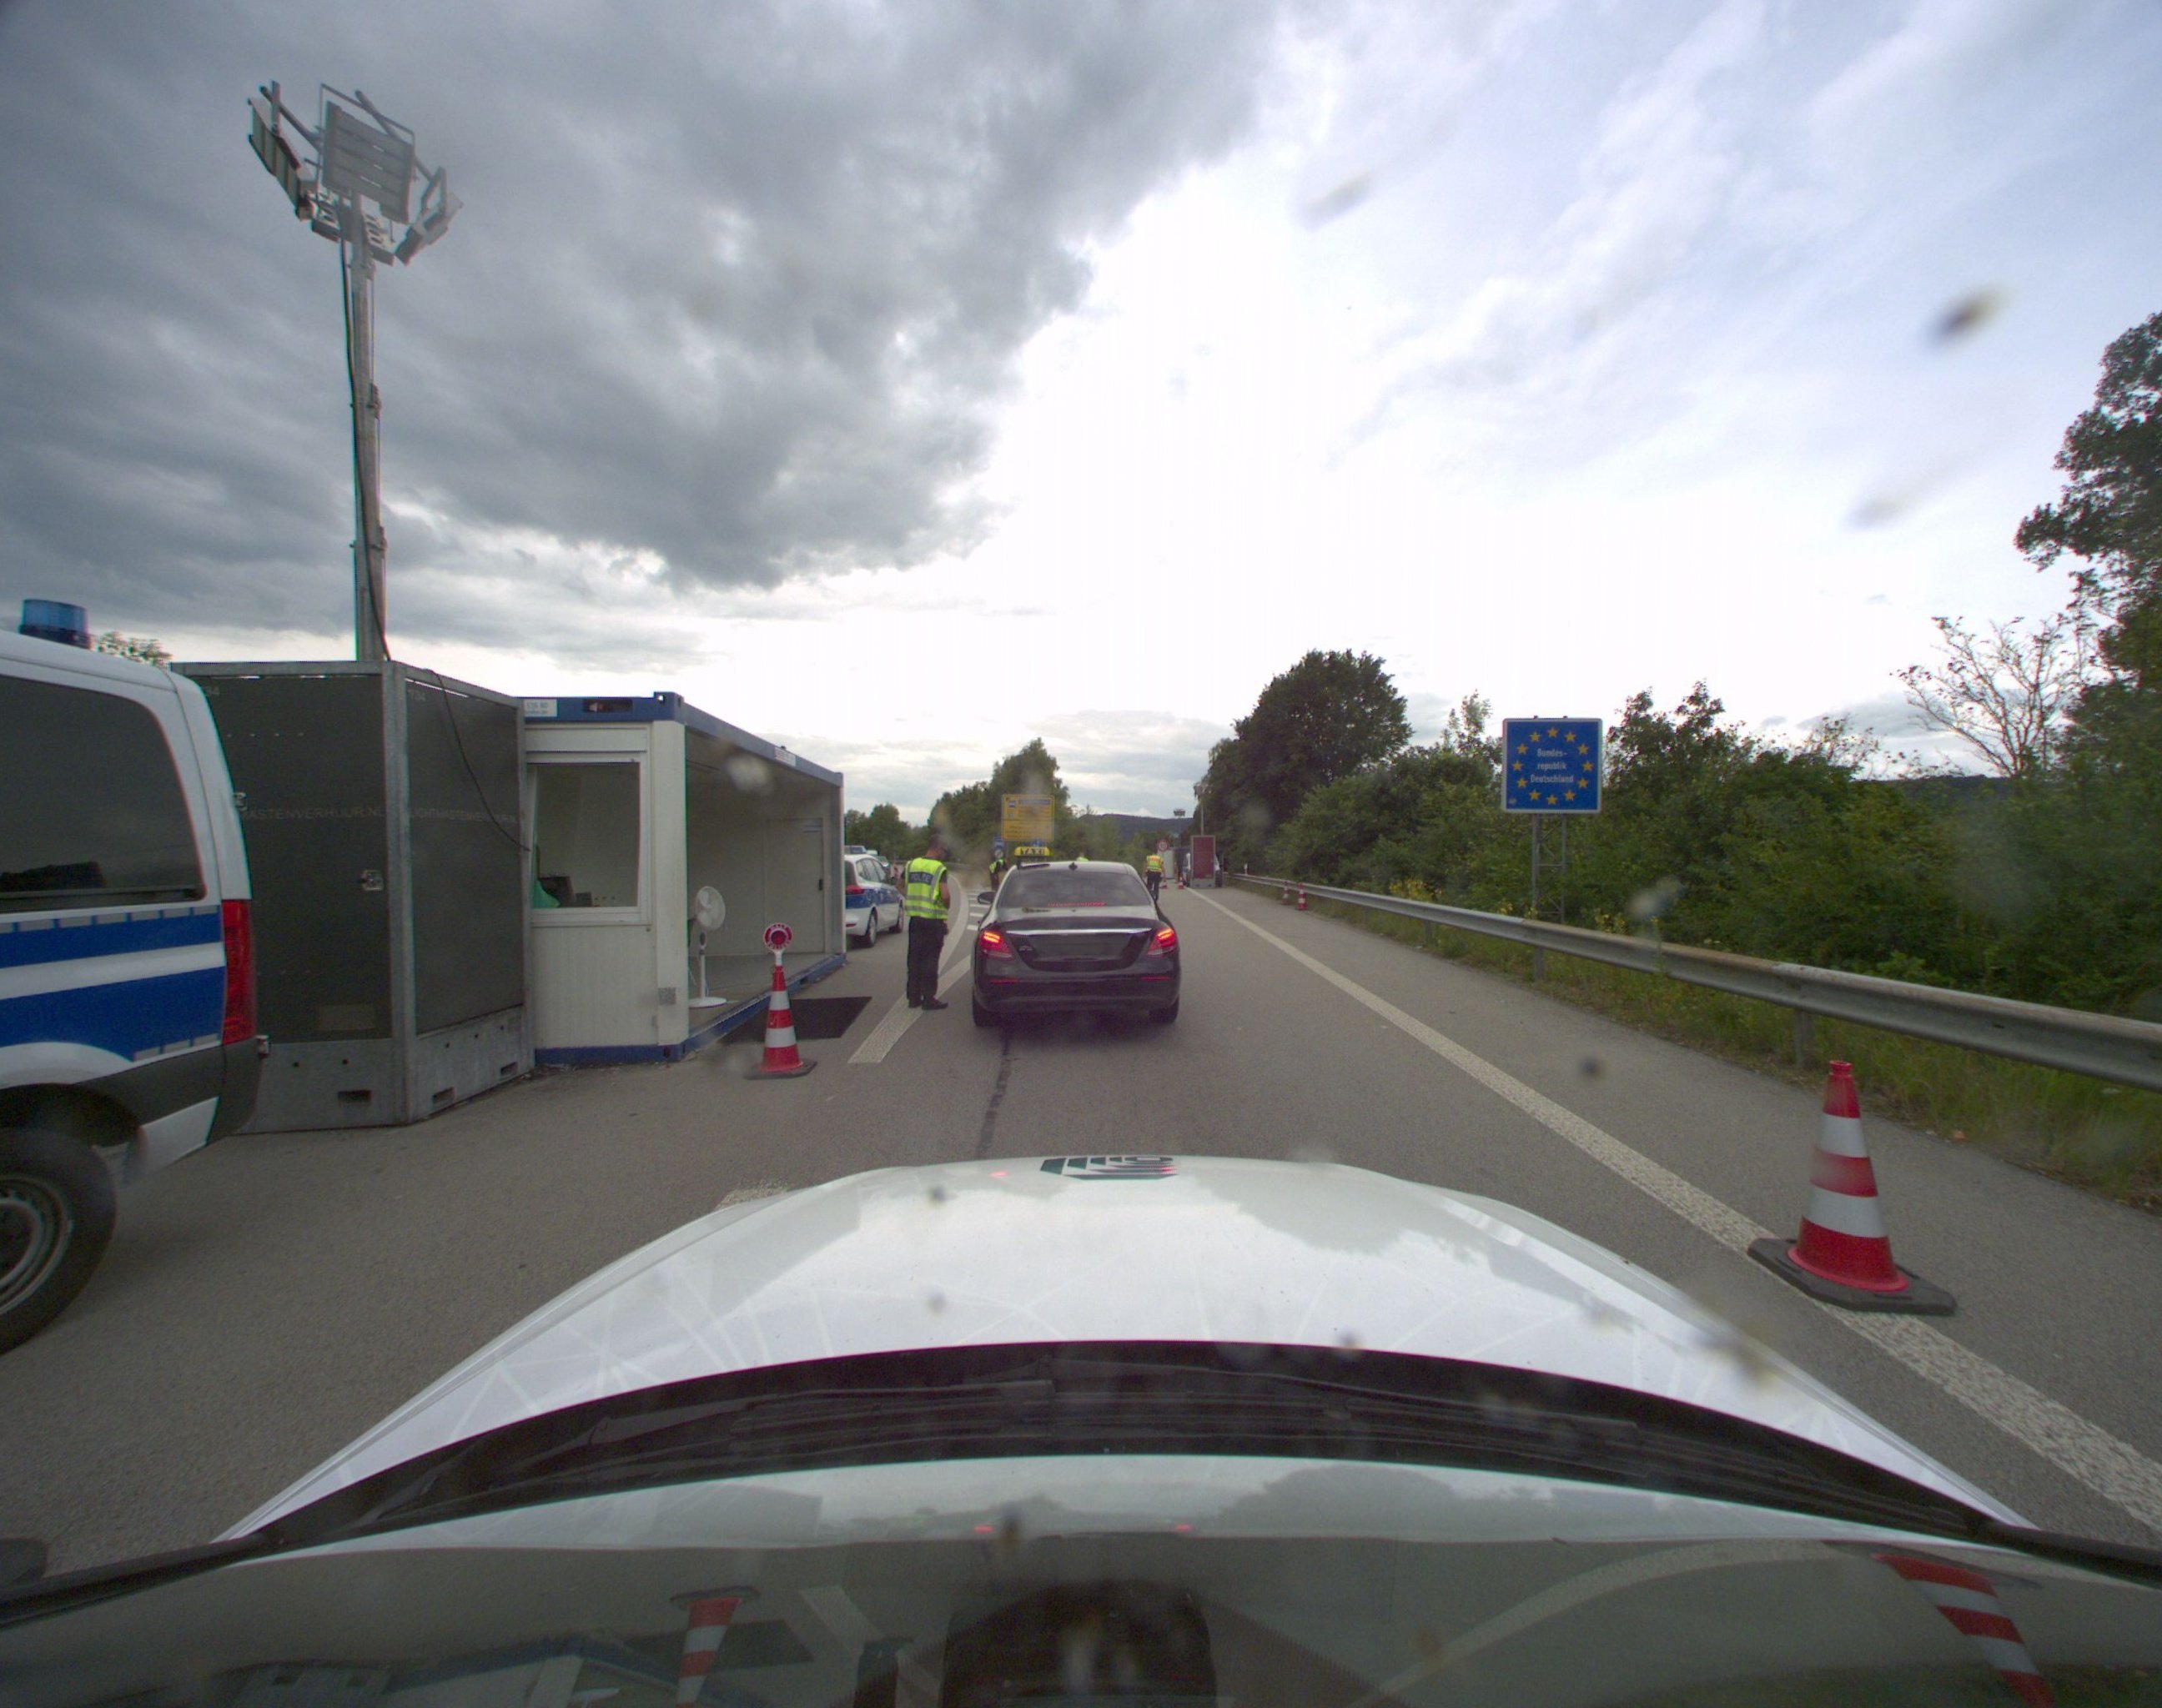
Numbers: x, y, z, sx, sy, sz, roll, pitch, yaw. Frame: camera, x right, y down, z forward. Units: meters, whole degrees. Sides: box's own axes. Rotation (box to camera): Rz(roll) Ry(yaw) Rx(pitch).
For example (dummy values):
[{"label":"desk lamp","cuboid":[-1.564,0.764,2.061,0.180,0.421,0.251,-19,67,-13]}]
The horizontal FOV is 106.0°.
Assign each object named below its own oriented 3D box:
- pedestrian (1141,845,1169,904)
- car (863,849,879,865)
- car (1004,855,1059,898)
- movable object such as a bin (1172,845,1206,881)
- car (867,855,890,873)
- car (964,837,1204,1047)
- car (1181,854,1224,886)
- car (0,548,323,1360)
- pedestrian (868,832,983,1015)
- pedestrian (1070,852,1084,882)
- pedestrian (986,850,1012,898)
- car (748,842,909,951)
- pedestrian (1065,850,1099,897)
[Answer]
[{"label":"pedestrian","cuboid":[2.351,0.654,26.104,0.809,1.830,0.810,-1,-1,1]},{"label":"car","cuboid":[-29.905,0.438,116.055,1.861,2.222,4.229,-1,0,-19]},{"label":"car","cuboid":[-1.806,0.812,30.960,1.850,1.498,4.254,-1,0,-1]},{"label":"movable object such as a bin","cuboid":[7.192,0.589,54.620,1.984,2.280,4.172,-1,0,4]},{"label":"car","cuboid":[-17.824,0.863,71.708,1.857,1.498,4.237,-1,0,-13]},{"label":"car","cuboid":[-0.071,0.682,8.533,1.851,1.595,4.371,-1,0,-3]},{"label":"car","cuboid":[6.753,0.864,45.779,1.908,1.678,5.087,1,0,3]},{"label":"car","cuboid":[-4.253,0.306,0.865,2.023,2.463,5.276,-1,0,-2]},{"label":"pedestrian","cuboid":[-1.565,0.658,8.226,0.752,1.718,0.823,-2,-1,39]},{"label":"pedestrian","cuboid":[-0.281,0.847,54.297,0.659,1.961,0.763,-1,-1,17]},{"label":"pedestrian","cuboid":[-3.106,0.743,30.994,0.908,1.769,0.911,-1,0,-1]},{"label":"car","cuboid":[-4.527,0.687,15.249,1.864,1.743,4.005,-1,0,-2]},{"label":"pedestrian","cuboid":[0.033,0.698,29.725,0.914,1.698,0.905,0,-1,-30]}]
